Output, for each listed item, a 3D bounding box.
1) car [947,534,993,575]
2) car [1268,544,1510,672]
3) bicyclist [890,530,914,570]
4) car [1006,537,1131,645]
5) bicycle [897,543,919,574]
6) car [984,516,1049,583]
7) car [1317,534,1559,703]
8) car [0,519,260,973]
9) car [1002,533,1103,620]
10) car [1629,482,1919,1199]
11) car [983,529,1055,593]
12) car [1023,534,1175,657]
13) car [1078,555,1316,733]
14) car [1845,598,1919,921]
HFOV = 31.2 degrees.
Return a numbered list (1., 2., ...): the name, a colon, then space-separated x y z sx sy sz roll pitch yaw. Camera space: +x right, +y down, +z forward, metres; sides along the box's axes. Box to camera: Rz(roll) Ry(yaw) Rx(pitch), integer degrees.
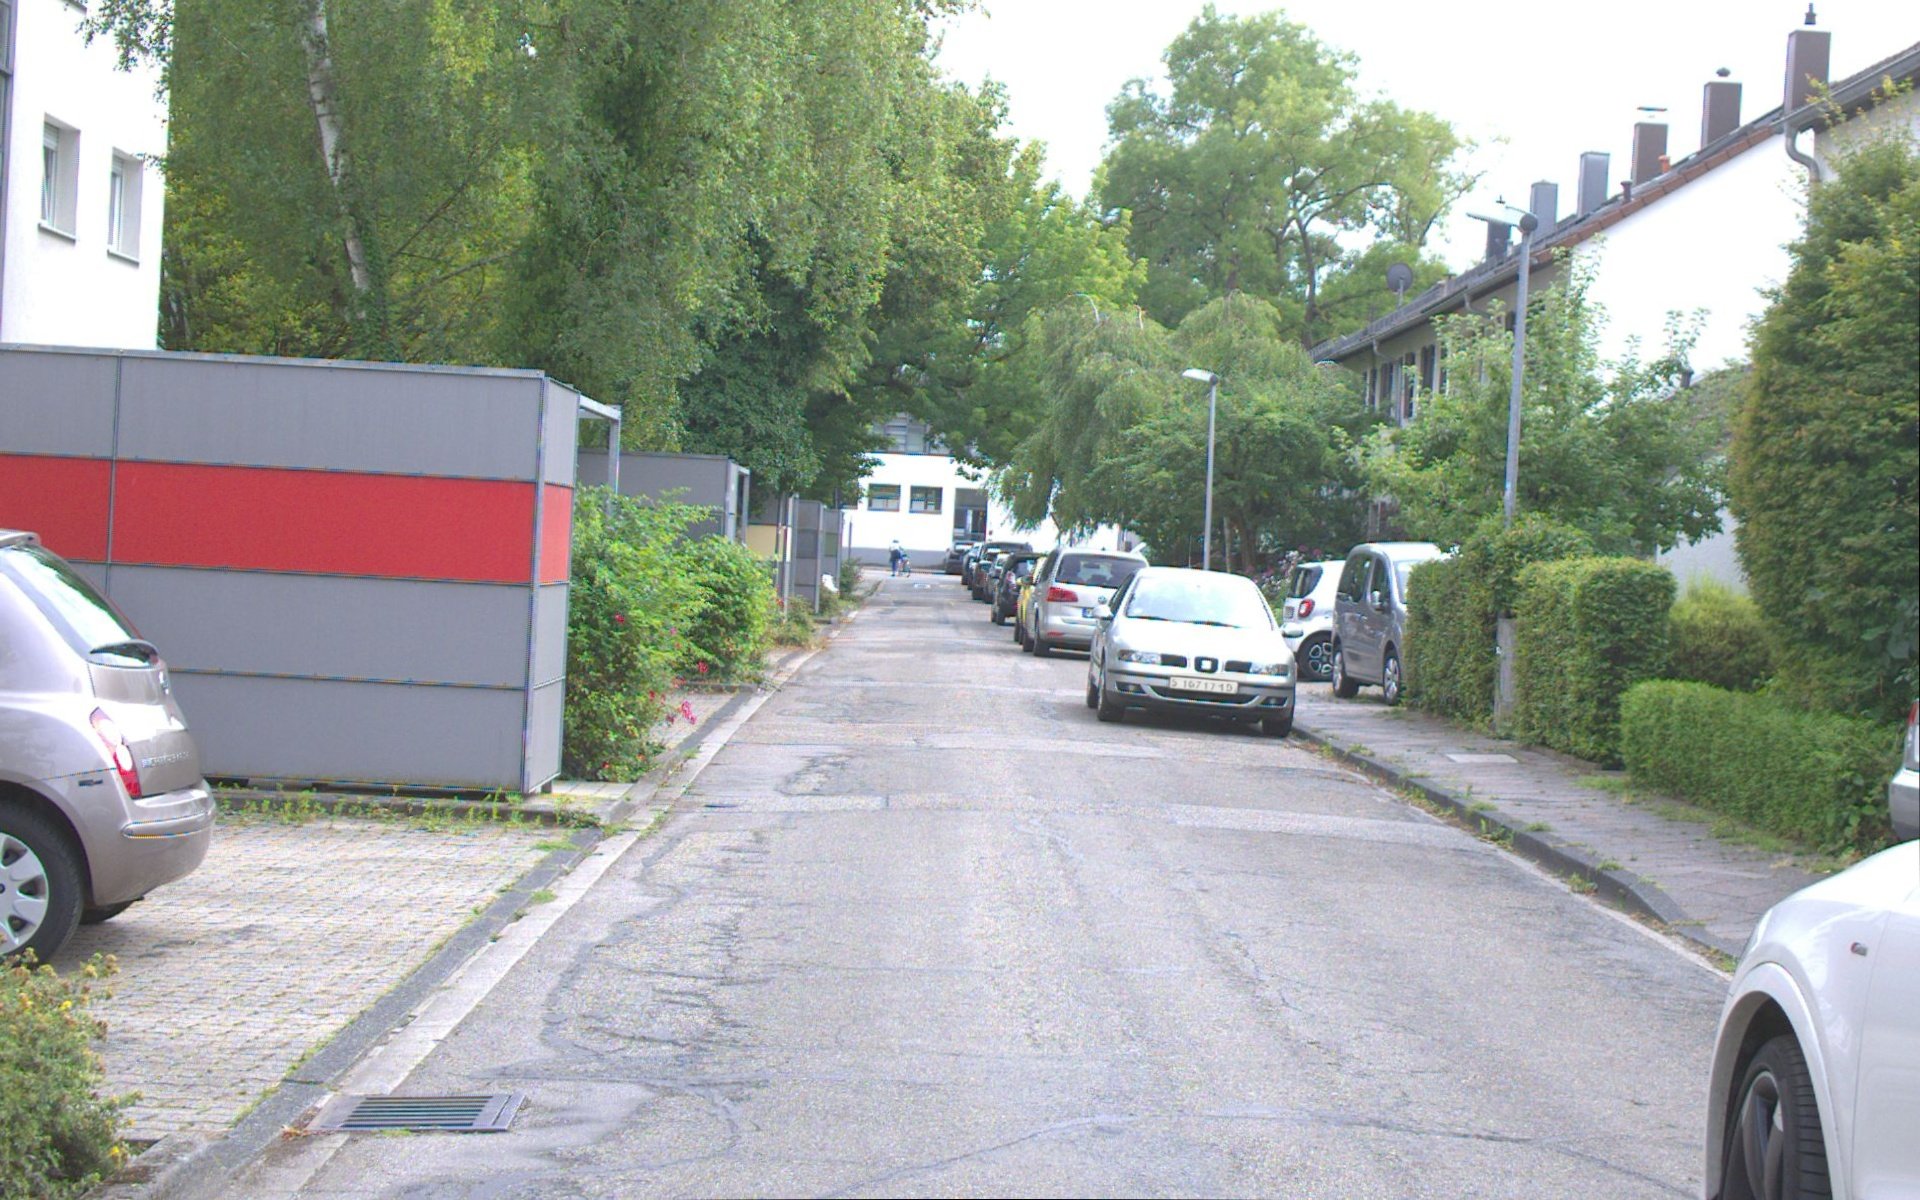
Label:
1. car: 0.436 -1.968 148.467 1.825 1.576 4.000 5 1 0
2. car: 5.503 0.093 44.358 2.816 1.564 1.741 1 1 -3
3. bicyclist: -2.283 -1.971 136.007 0.798 1.505 0.934 5 1 2
4. car: 1.769 -0.186 57.196 1.825 1.576 4.000 5 1 0
5. bicycle: -2.047 -1.637 135.964 0.689 1.127 2.579 5 1 2
6. car: 1.756 -1.590 107.615 1.825 1.876 4.000 5 1 0
7. car: 5.312 0.176 38.756 1.825 1.771 4.341 1 1 -4
8. car: -4.405 0.421 12.137 3.561 1.475 1.711 2 1 -4
9. car: 1.872 -0.500 70.589 1.825 1.576 4.193 5 1 0
10. car: 2.365 0.718 4.625 1.824 1.630 4.163 5 1 -3
11. car: 1.619 -1.099 95.997 1.825 1.576 4.000 5 1 0
12. car: 2.006 -0.100 50.647 1.825 1.576 4.001 5 1 -2
13. car: 2.135 0.355 32.065 1.825 1.365 4.331 5 1 0
14. car: 6.308 0.767 15.577 4.019 1.422 1.854 1 1 -6
